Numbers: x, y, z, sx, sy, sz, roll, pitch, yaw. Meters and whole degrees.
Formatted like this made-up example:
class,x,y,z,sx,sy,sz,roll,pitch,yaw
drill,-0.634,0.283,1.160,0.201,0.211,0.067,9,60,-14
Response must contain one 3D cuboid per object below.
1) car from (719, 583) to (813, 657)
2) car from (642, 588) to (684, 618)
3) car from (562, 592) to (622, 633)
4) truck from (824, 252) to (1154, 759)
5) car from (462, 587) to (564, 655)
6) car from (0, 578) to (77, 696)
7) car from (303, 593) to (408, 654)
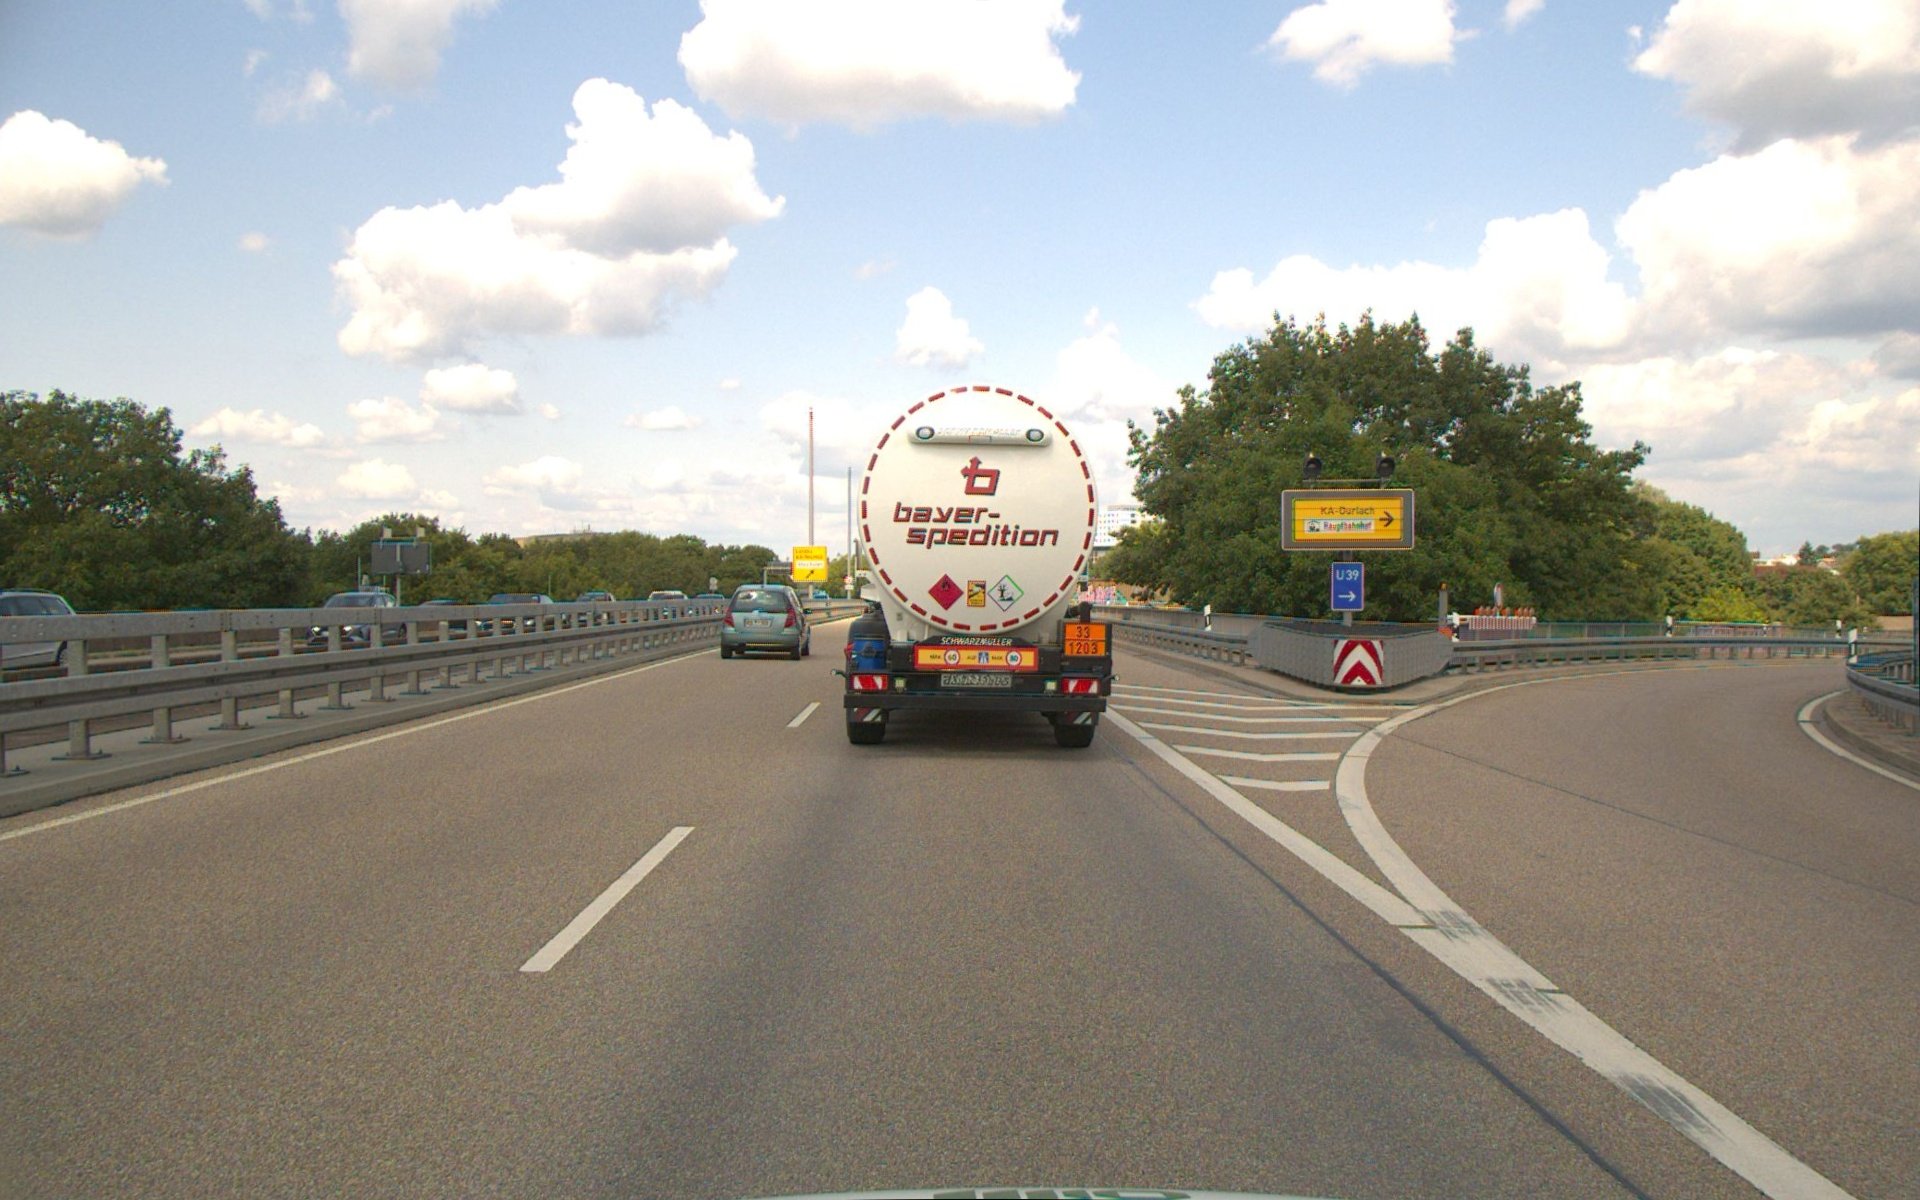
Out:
class,x,y,z,sx,sy,sz,roll,pitch,yaw
car,-4.300,0.413,37.114,1.712,1.558,3.999,0,0,-1
car,-17.418,0.176,97.072,1.853,1.668,4.510,1,0,-3
car,-16.058,0.526,72.297,1.785,1.667,3.999,1,0,-1
truck,0.148,-0.840,18.760,2.837,4.445,8.026,1,0,-2
car,-11.268,0.509,41.949,1.642,1.599,4.058,1,0,-3
car,-15.305,0.561,25.149,1.550,1.740,4.408,1,1,-3
car,-16.003,0.602,43.962,1.566,1.500,3.629,-2,0,-3
